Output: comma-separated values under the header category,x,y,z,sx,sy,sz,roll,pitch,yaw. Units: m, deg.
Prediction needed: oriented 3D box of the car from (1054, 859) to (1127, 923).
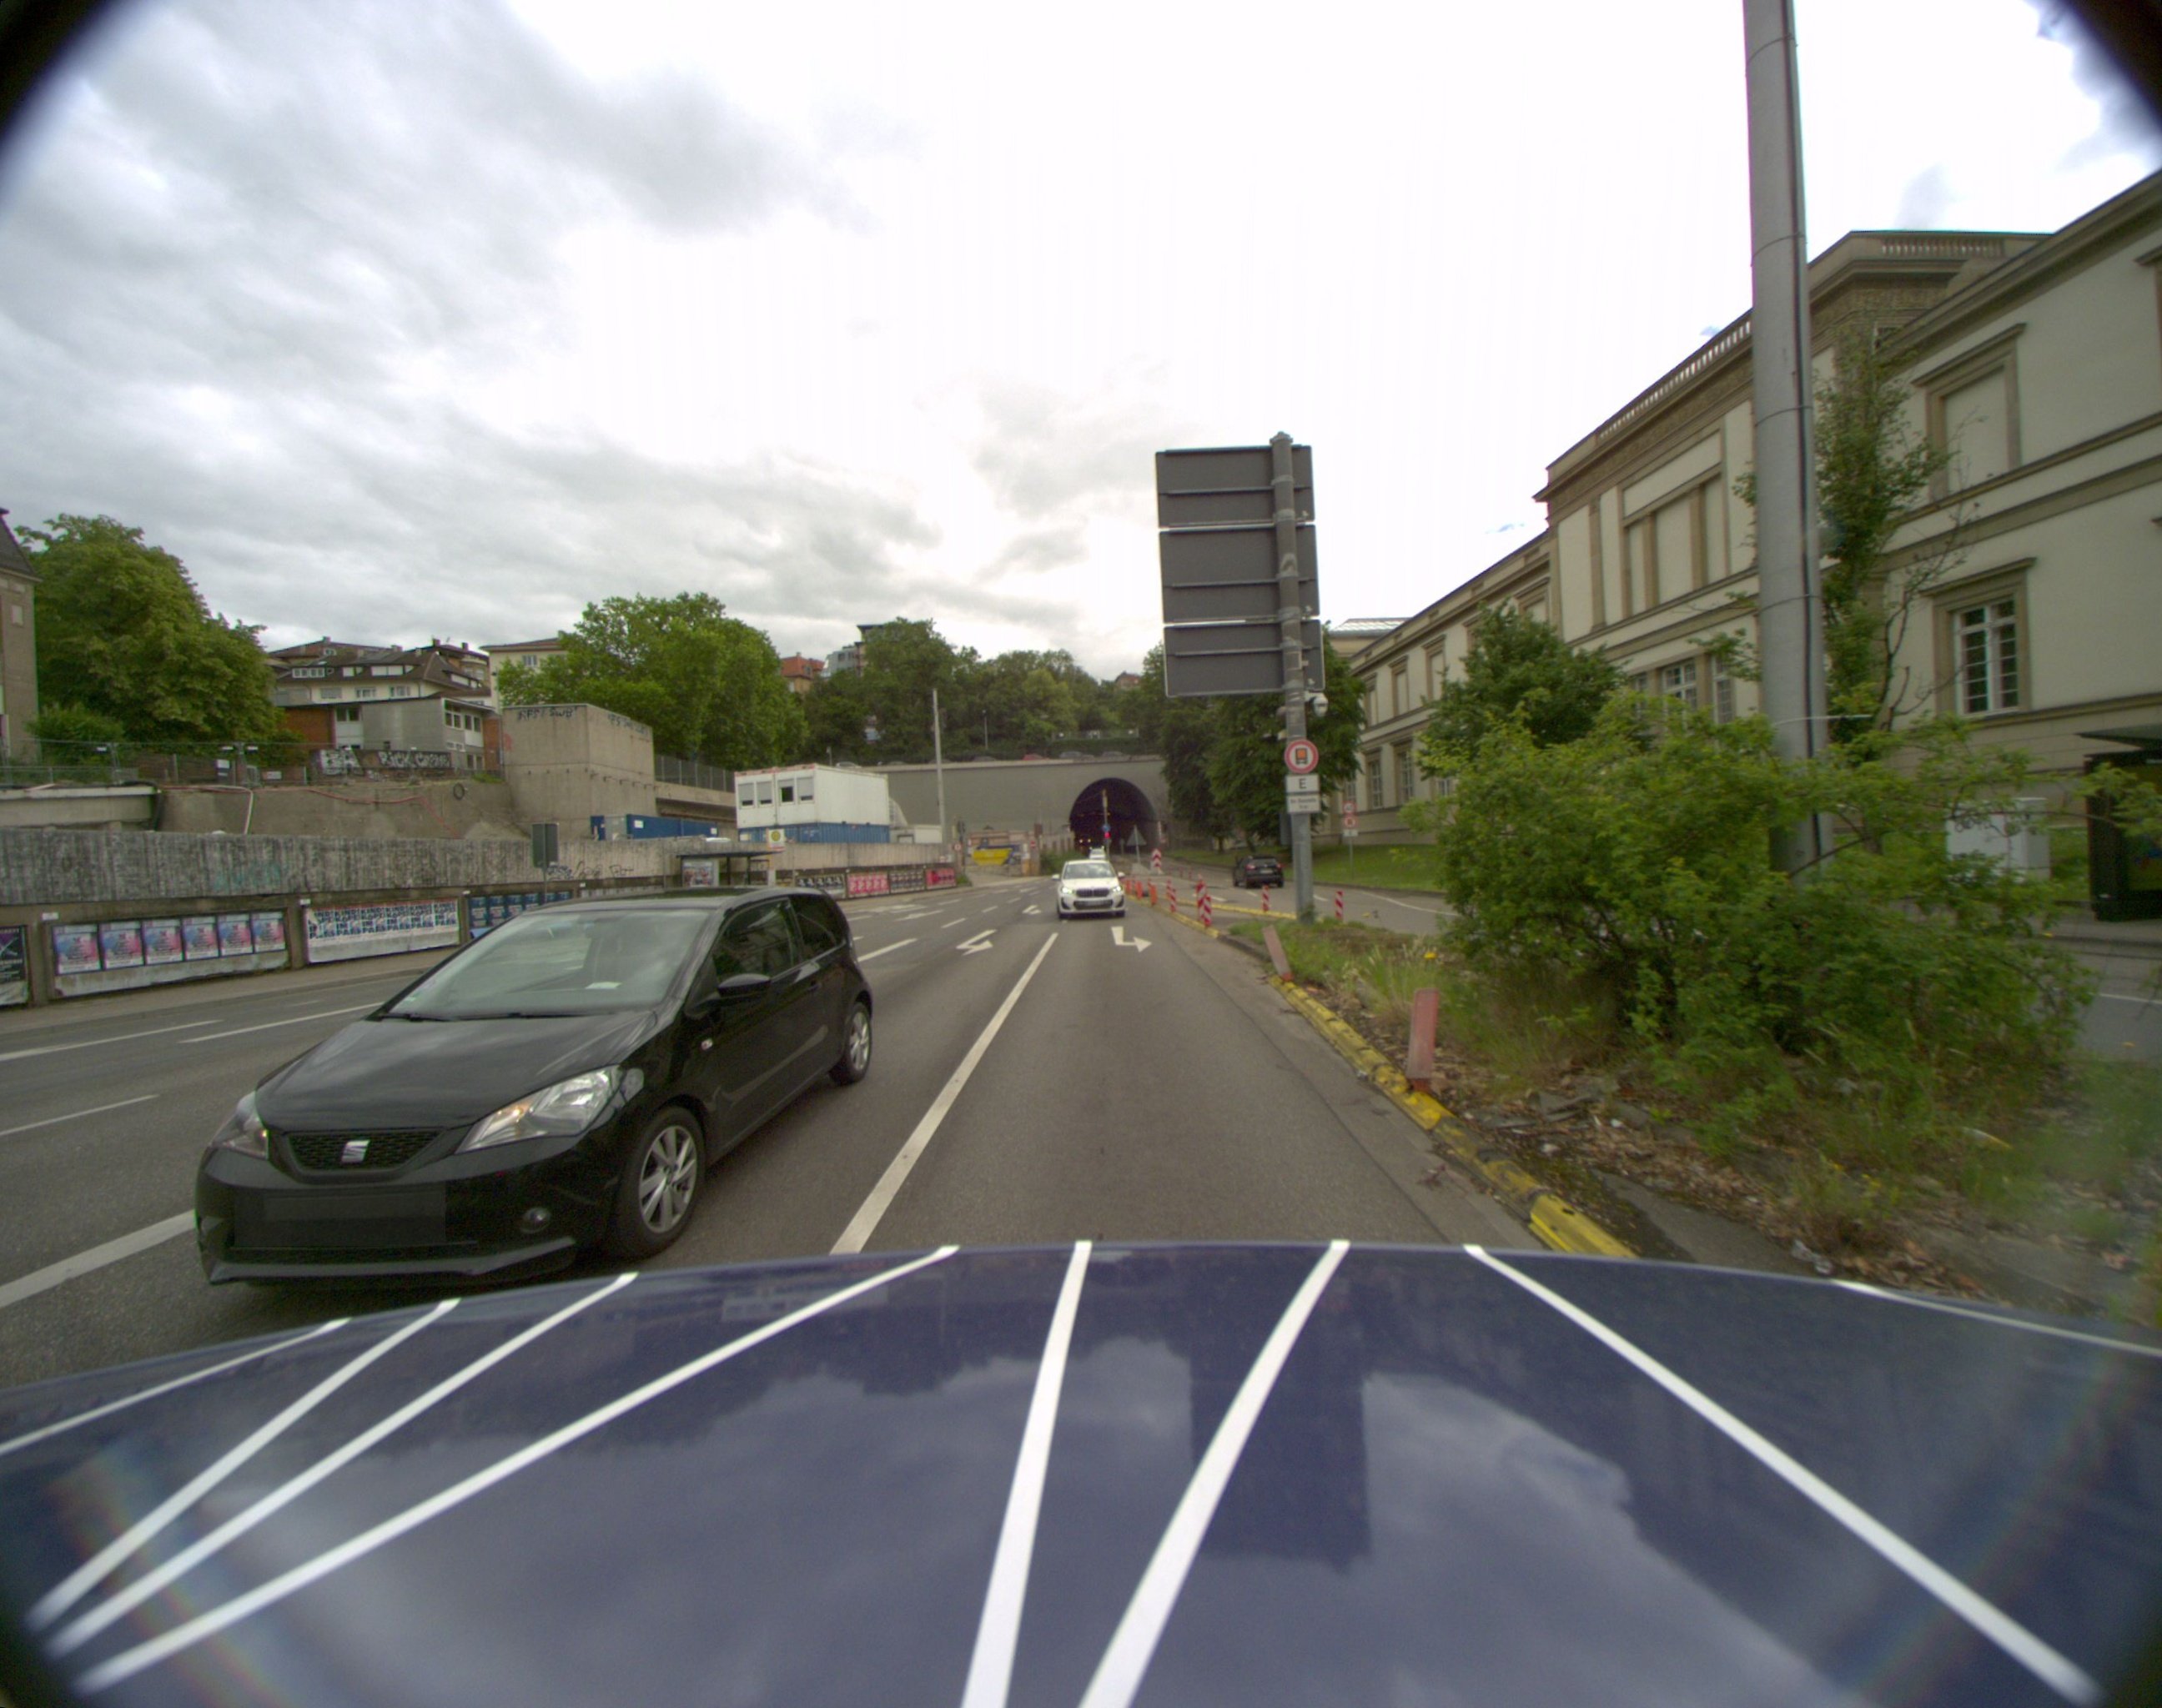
category,x,y,z,sx,sy,sz,roll,pitch,yaw
car,0.270,0.993,22.071,1.849,1.581,3.882,-3,0,1

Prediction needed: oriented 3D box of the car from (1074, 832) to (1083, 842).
category,x,y,z,sx,sy,sz,roll,pitch,yaw
car,-0.453,-3.163,141.998,1.705,1.550,4.550,-3,0,-1

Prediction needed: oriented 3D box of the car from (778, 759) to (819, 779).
category,x,y,z,sx,sy,sz,roll,pitch,yaw
car,-33.056,-9.929,89.076,3.999,2.002,1.999,-2,1,-6

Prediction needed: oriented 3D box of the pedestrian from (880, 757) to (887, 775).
category,x,y,z,sx,sy,sz,roll,pitch,yaw
pedestrian,-23.272,-10.354,89.595,0.582,2.002,0.577,-2,1,-4

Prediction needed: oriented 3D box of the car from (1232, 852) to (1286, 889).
category,x,y,z,sx,sy,sz,roll,pitch,yaw
car,8.368,0.744,36.024,1.667,1.581,3.882,-1,0,1

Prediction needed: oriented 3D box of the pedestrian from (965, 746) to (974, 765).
category,x,y,z,sx,sy,sz,roll,pitch,yaw
pedestrian,-12.793,-11.271,87.289,0.851,2.002,0.905,-3,1,-5

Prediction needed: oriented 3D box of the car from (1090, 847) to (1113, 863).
category,x,y,z,sx,sy,sz,roll,pitch,yaw
car,2.104,0.059,77.412,1.662,1.471,4.003,-3,0,11

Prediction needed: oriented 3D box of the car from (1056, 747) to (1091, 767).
category,x,y,z,sx,sy,sz,roll,pitch,yaw
car,-0.924,-11.552,90.934,3.998,2.002,1.999,-2,1,-3

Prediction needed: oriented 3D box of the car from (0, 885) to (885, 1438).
category,x,y,z,sx,sy,sz,roll,pitch,yaw
car,-2.508,1.038,4.298,1.667,1.487,3.882,-3,0,1

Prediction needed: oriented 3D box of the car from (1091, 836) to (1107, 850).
category,x,y,z,sx,sy,sz,roll,pitch,yaw
car,2.362,-1.398,97.771,1.826,1.562,4.654,-3,0,3

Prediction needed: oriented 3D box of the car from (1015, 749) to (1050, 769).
category,x,y,z,sx,sy,sz,roll,pitch,yaw
car,-5.799,-11.365,90.747,3.998,2.002,1.999,-2,1,-3

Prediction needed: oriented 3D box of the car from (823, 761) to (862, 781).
category,x,y,z,sx,sy,sz,roll,pitch,yaw
car,-28.009,-9.751,89.245,3.999,2.002,1.999,-2,1,-6

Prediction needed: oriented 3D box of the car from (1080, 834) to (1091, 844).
category,x,y,z,sx,sy,sz,roll,pitch,yaw
car,0.781,-2.407,124.827,1.705,1.550,4.550,-3,0,0
